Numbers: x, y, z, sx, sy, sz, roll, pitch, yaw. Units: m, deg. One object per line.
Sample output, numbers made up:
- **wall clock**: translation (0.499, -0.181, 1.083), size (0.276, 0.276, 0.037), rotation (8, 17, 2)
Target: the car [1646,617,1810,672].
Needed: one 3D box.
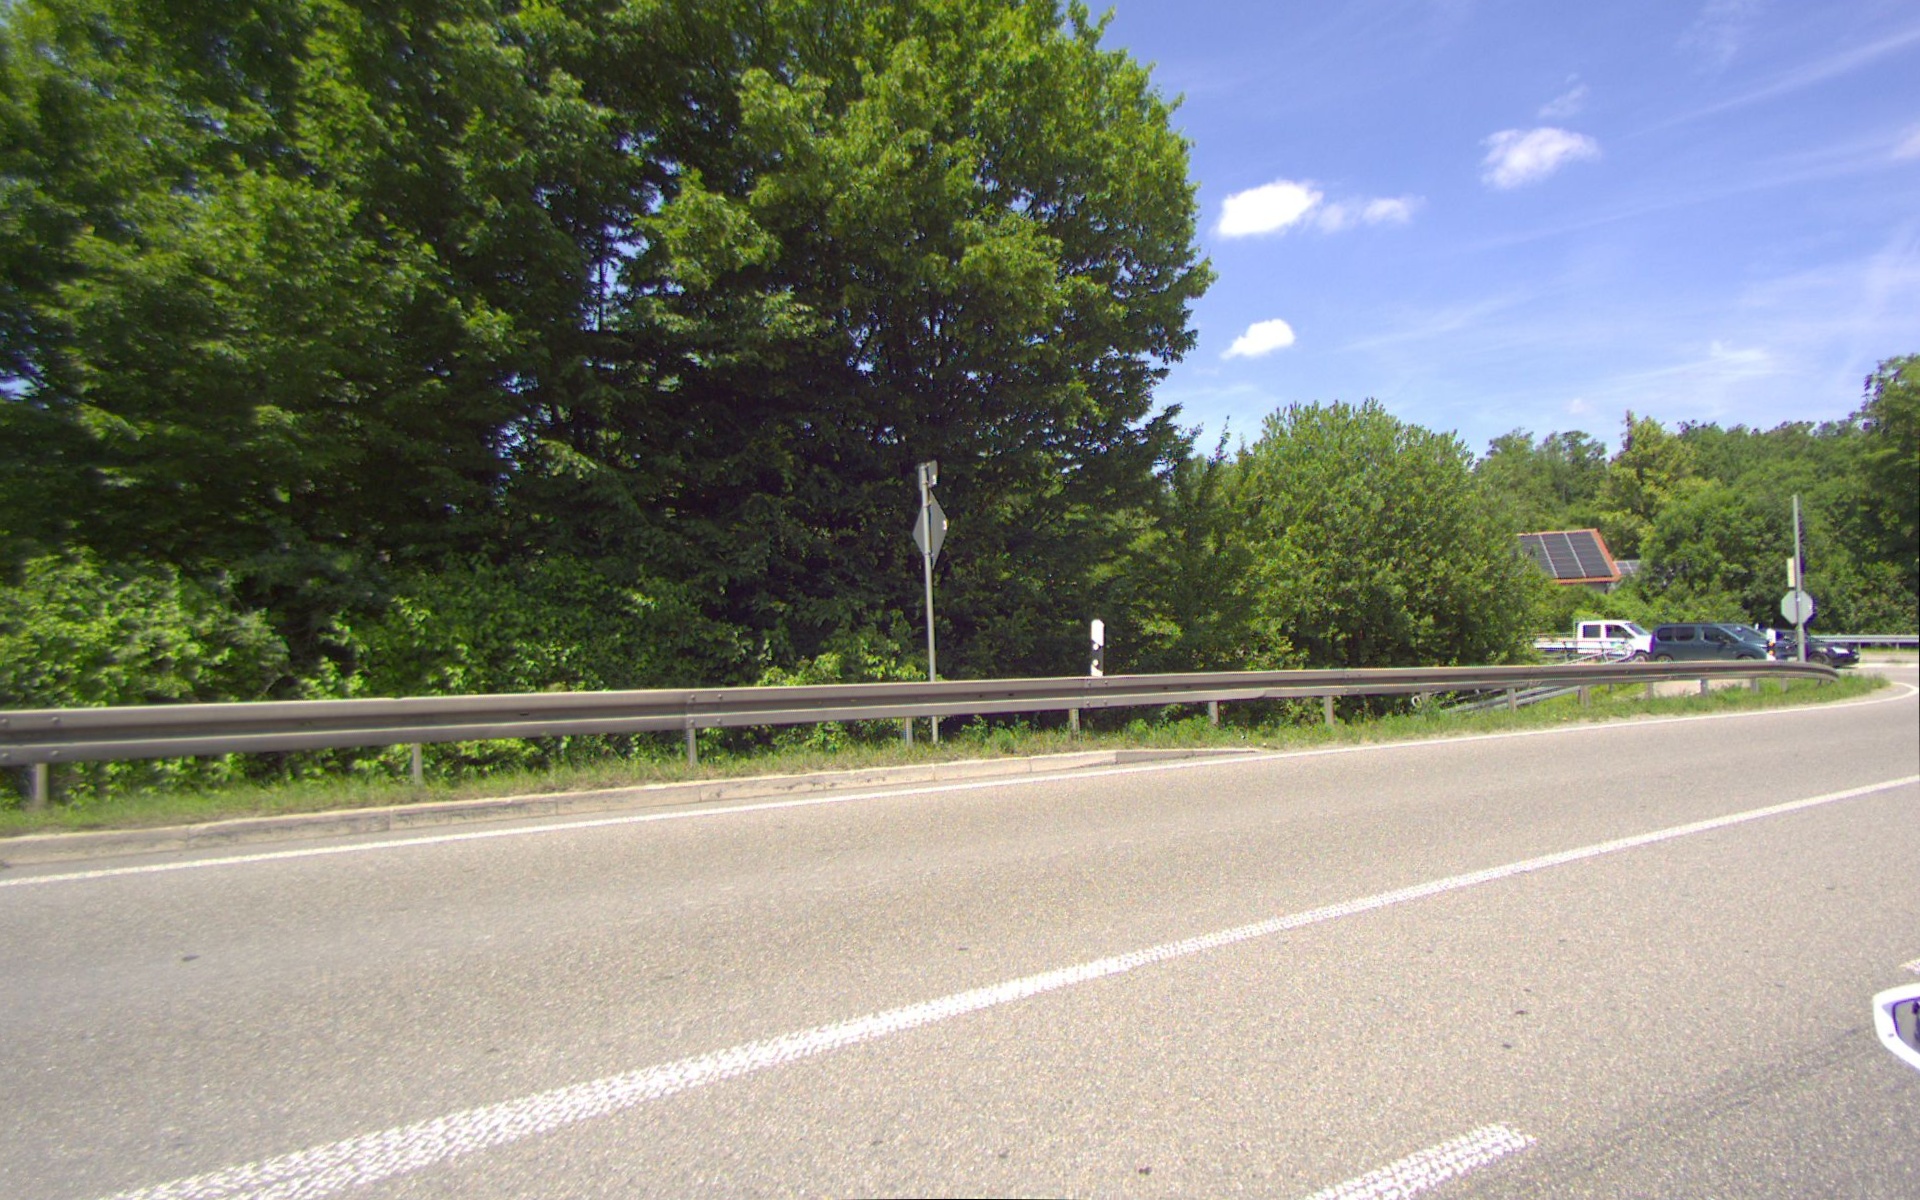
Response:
- **car**: translation (26.993, 1.513, 35.472), size (1.969, 1.793, 4.230), rotation (1, -1, -19)

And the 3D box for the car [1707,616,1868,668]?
- **car**: translation (30.624, 1.527, 37.336), size (1.969, 1.793, 4.230), rotation (1, -1, -19)

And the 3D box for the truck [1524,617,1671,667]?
- **truck**: translation (26.795, 1.730, 42.371), size (2.027, 1.815, 4.834), rotation (3, -1, -40)
